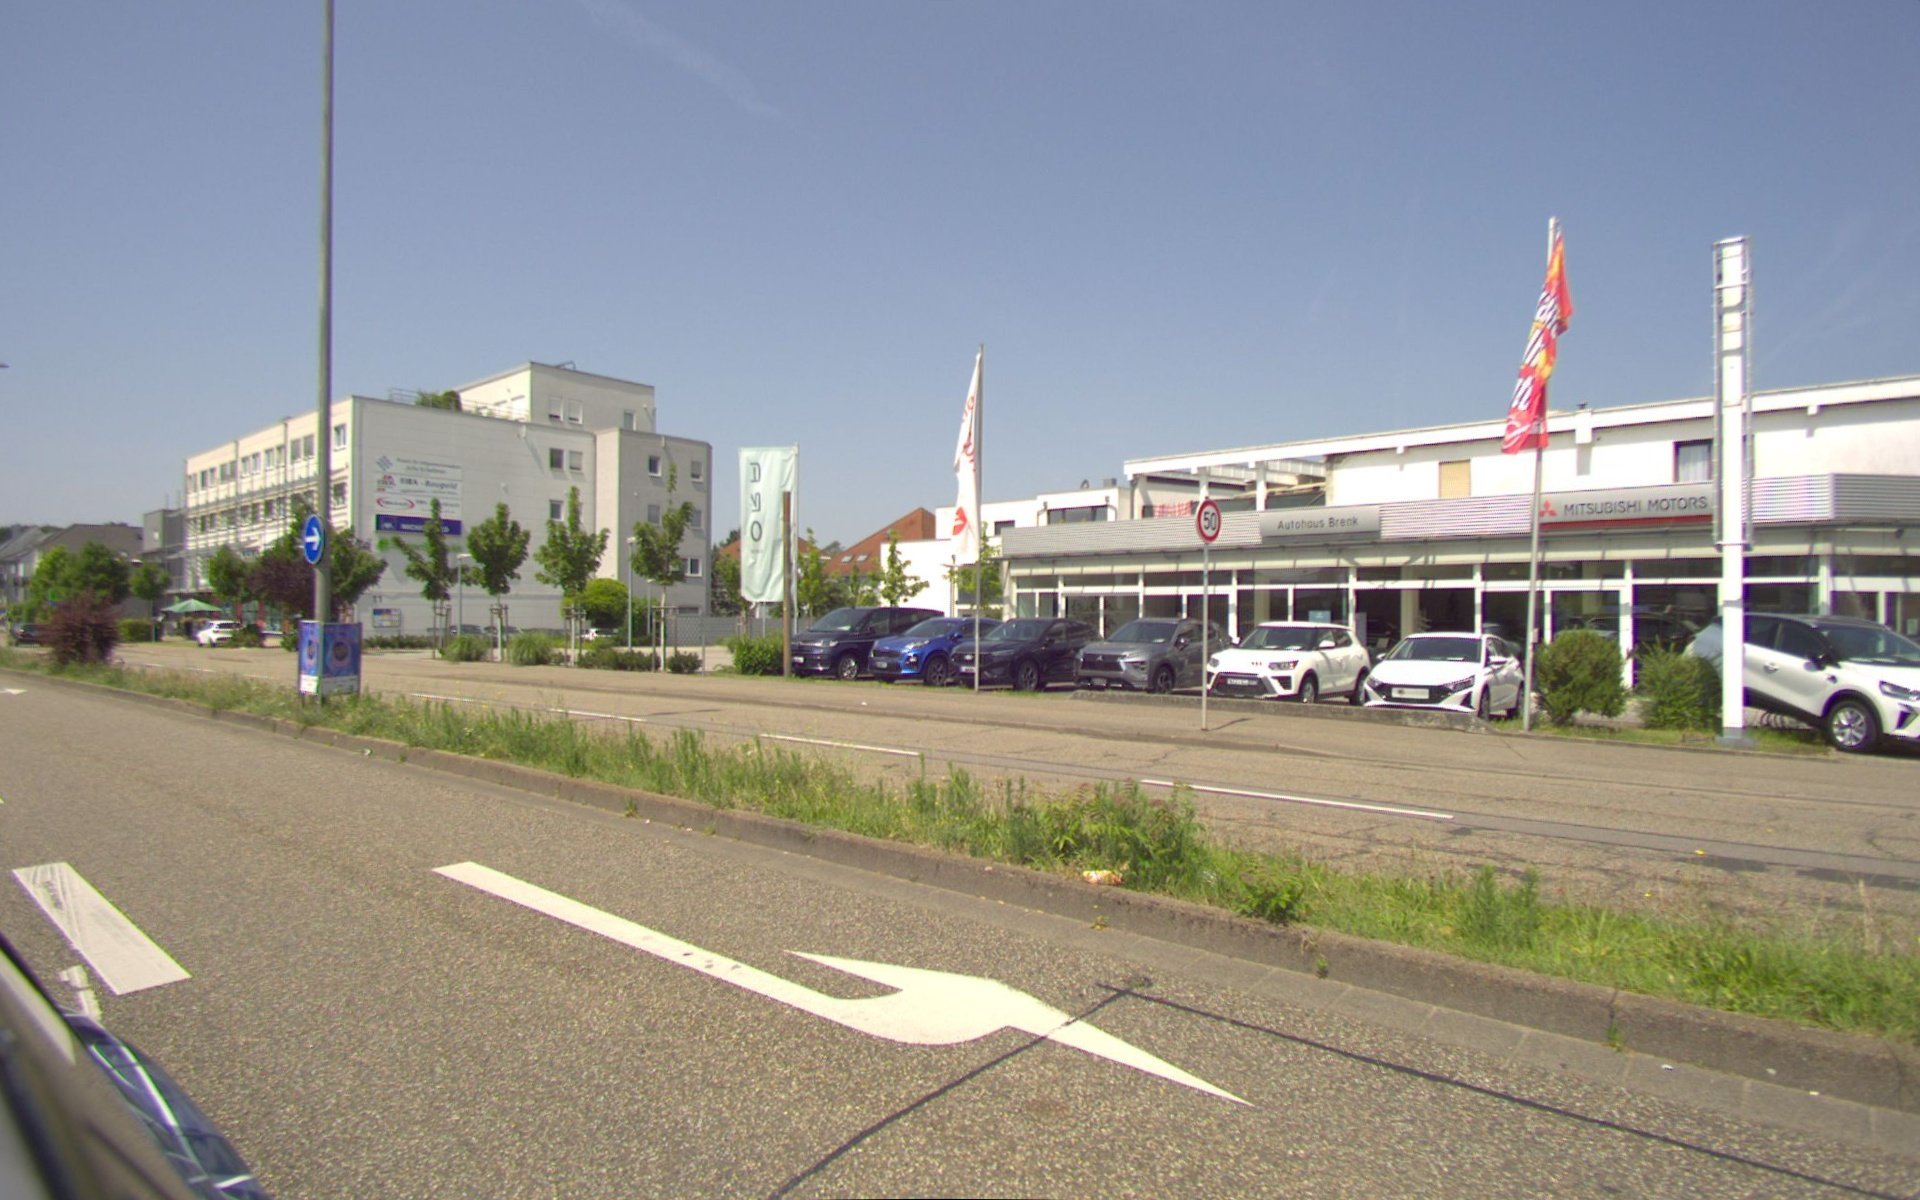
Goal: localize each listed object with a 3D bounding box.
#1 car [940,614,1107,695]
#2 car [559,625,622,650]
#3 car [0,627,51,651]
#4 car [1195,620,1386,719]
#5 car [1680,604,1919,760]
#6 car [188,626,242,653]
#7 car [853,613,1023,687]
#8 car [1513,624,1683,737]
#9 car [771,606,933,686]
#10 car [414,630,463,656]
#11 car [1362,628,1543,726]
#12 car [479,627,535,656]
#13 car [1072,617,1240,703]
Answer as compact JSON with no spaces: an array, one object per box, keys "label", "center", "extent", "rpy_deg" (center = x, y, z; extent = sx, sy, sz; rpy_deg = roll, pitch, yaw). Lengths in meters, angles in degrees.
[{"label":"car","center":[1.502,1.245,22.502],"extent":[1.758,1.621,3.948],"rpy_deg":[-1,-5,39]},{"label":"car","center":[-21.599,2.191,59.073],"extent":[3.833,1.394,1.899],"rpy_deg":[-1,-2,43]},{"label":"car","center":[-58.930,2.443,63.744],"extent":[4.707,1.472,1.810],"rpy_deg":[-1,-2,39]},{"label":"car","center":[6.189,1.202,18.739],"extent":[1.925,1.621,3.944],"rpy_deg":[-1,-2,42]},{"label":"car","center":[11.995,0.961,13.618],"extent":[1.736,1.636,3.999],"rpy_deg":[0,2,1]},{"label":"car","center":[-42.856,2.225,58.173],"extent":[3.661,1.460,1.674],"rpy_deg":[-1,-1,39]},{"label":"car","center":[-0.454,1.195,24.435],"extent":[2.087,1.621,3.948],"rpy_deg":[-1,-3,39]},{"label":"car","center":[9.796,1.114,15.408],"extent":[1.758,1.478,3.948],"rpy_deg":[-1,-2,39]},{"label":"car","center":[-2.724,1.154,26.197],"extent":[1.998,1.896,3.948],"rpy_deg":[-1,-2,39]},{"label":"car","center":[-27.746,2.278,53.781],"extent":[2.833,1.350,1.437],"rpy_deg":[-1,-2,43]},{"label":"car","center":[8.195,1.165,16.660],"extent":[1.858,1.405,3.948],"rpy_deg":[-1,-2,39]},{"label":"car","center":[-24.662,2.236,55.054],"extent":[3.556,1.530,1.536],"rpy_deg":[-1,-2,43]},{"label":"car","center":[4.094,1.204,20.678],"extent":[1.758,1.580,3.948],"rpy_deg":[-1,-3,39]}]
